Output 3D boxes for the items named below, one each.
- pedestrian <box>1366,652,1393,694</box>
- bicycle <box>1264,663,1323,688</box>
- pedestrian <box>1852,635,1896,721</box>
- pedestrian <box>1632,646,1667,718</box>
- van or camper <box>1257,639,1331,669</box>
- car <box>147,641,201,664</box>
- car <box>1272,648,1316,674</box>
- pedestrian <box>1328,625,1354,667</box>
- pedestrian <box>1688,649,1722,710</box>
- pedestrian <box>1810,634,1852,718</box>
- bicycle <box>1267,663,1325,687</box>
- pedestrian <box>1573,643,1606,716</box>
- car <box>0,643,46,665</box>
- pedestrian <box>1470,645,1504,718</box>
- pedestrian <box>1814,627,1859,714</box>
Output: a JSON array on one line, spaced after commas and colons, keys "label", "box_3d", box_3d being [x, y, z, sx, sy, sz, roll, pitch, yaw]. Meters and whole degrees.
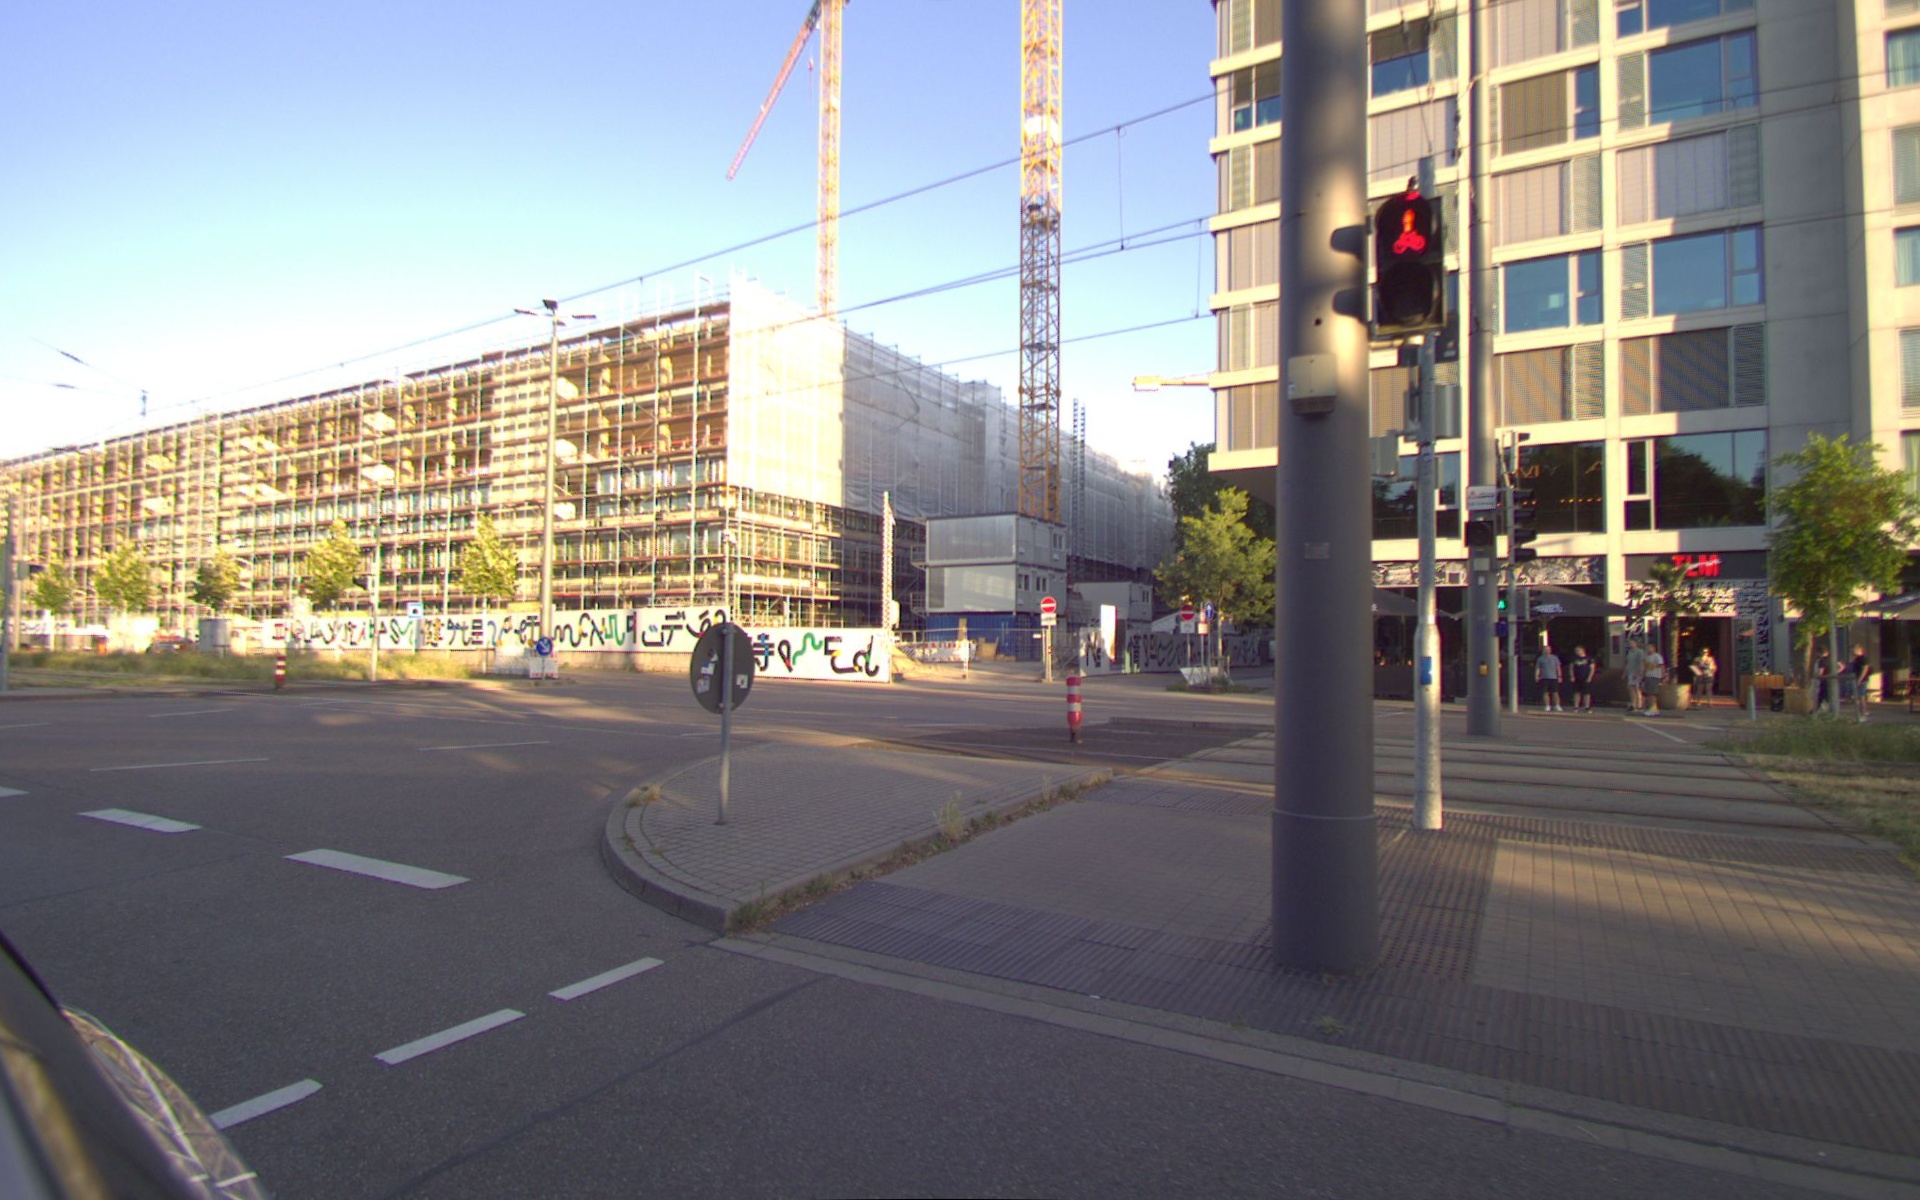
[{"label": "pedestrian", "box_3d": [14.612, 2.541, 35.244, 0.765, 1.425, 0.603, 0, -3, 14]}, {"label": "bicycle", "box_3d": [12.119, 2.758, 36.807, 1.969, 0.881, 0.391, -3, -2, 28]}, {"label": "pedestrian", "box_3d": [21.774, 1.846, 24.108, 0.494, 2.029, 0.553, 1, -3, -19]}, {"label": "pedestrian", "box_3d": [18.011, 2.131, 26.451, 0.706, 1.836, 0.610, -1, -1, 32]}, {"label": "van or camper", "box_3d": [25.776, 4.215, 78.060, 4.937, 2.139, 2.465, -4, -5, 32]}, {"label": "car", "box_3d": [-54.111, 3.595, 69.679, 4.056, 1.466, 1.650, -1, -5, 33]}, {"label": "car", "box_3d": [21.560, 3.916, 65.340, 2.001, 1.610, 3.668, -1, -3, 30]}, {"label": "pedestrian", "box_3d": [13.435, 1.612, 35.719, 0.769, 1.474, 0.600, -1, -3, 29]}, {"label": "pedestrian", "box_3d": [20.437, 2.165, 27.765, 0.707, 1.616, 0.672, -1, -1, 36]}, {"label": "pedestrian", "box_3d": [21.337, 1.858, 24.803, 0.494, 2.029, 0.553, 1, -3, -19]}, {"label": "bicycle", "box_3d": [12.491, 2.790, 37.619, 1.969, 0.881, 0.391, -3, -2, 28]}, {"label": "pedestrian", "box_3d": [16.511, 2.068, 26.573, 0.678, 1.850, 0.702, 0, 0, 28]}, {"label": "car", "box_3d": [-68.028, 3.900, 73.231, 4.058, 1.529, 1.766, -2, -5, 34]}, {"label": "pedestrian", "box_3d": [13.873, 2.126, 26.652, 0.759, 1.850, 0.702, -1, -1, 28]}, {"label": "pedestrian", "box_3d": [20.638, 1.656, 23.834, 0.494, 2.029, 0.553, 1, -3, -19]}]
